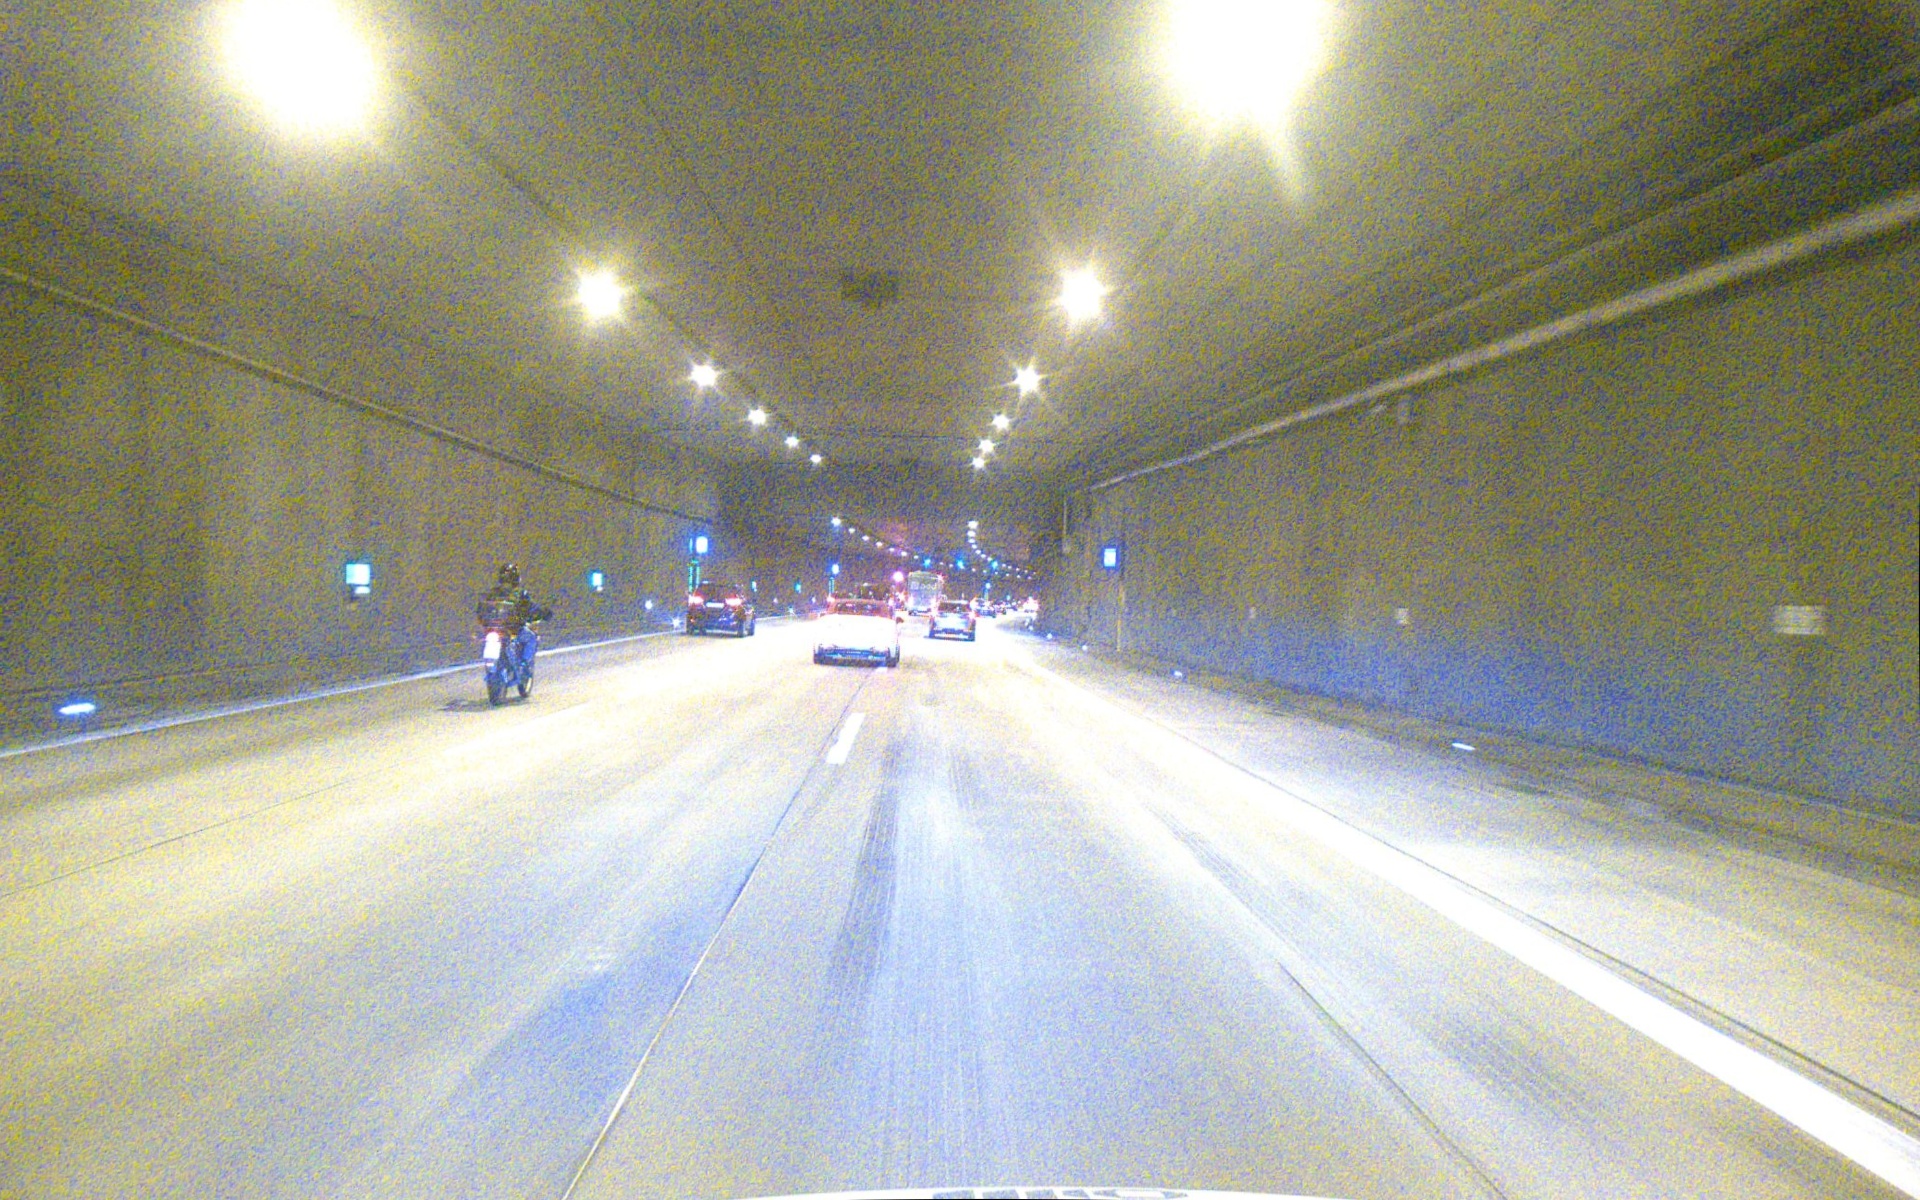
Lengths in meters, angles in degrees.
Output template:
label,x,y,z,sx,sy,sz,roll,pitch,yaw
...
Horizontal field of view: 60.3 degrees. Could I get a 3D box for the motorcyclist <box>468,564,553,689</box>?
label,x,y,z,sx,sy,sz,roll,pitch,yaw
motorcyclist,-5.575,0.319,20.559,0.822,1.503,0.821,-1,0,-1

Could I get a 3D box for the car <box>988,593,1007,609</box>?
label,x,y,z,sx,sy,sz,roll,pitch,yaw
car,3.947,0.106,173.131,1.821,1.695,4.000,1,0,0

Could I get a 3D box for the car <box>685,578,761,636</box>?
label,x,y,z,sx,sy,sz,roll,pitch,yaw
car,-7.214,0.199,50.568,1.749,1.626,3.801,3,0,-1

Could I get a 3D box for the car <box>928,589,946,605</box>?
label,x,y,z,sx,sy,sz,roll,pitch,yaw
car,-2.502,-0.319,179.332,1.792,1.646,4.001,1,0,1

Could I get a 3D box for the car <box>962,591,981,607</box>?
label,x,y,z,sx,sy,sz,roll,pitch,yaw
car,1.306,-0.156,187.670,1.953,1.785,3.999,0,0,-1

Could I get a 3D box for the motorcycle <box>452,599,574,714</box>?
label,x,y,z,sx,sy,sz,roll,pitch,yaw
motorcycle,-5.573,0.667,20.797,0.828,1.267,2.604,-1,2,-1

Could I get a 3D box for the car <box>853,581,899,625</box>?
label,x,y,z,sx,sy,sz,roll,pitch,yaw
car,-3.841,0.148,76.499,1.953,2.006,3.999,0,0,-1

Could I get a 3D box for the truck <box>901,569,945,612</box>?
label,x,y,z,sx,sy,sz,roll,pitch,yaw
truck,-2.774,-0.754,127.296,3.019,3.167,10.030,0,1,1

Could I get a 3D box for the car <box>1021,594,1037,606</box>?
label,x,y,z,sx,sy,sz,roll,pitch,yaw
car,8.942,0.019,215.096,1.806,1.578,4.000,1,0,-1

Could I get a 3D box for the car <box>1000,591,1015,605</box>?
label,x,y,z,sx,sy,sz,roll,pitch,yaw
car,6.270,-0.252,218.532,1.796,1.720,4.000,1,0,0

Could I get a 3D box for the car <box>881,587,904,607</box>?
label,x,y,z,sx,sy,sz,roll,pitch,yaw
car,-5.888,-0.279,144.517,1.805,1.631,4.001,1,0,1

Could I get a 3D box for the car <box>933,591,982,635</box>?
label,x,y,z,sx,sy,sz,roll,pitch,yaw
car,-0.128,0.466,63.319,1.802,1.630,3.999,1,0,-1

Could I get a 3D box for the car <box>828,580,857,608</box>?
label,x,y,z,sx,sy,sz,roll,pitch,yaw
car,-7.299,-0.346,103.007,1.764,1.713,3.997,-1,0,-3

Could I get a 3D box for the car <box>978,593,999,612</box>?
label,x,y,z,sx,sy,sz,roll,pitch,yaw
car,2.508,0.174,144.346,1.805,1.595,4.001,1,0,1

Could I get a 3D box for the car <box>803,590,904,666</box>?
label,x,y,z,sx,sy,sz,roll,pitch,yaw
car,-2.259,0.575,36.149,1.953,1.509,3.999,2,0,-1
